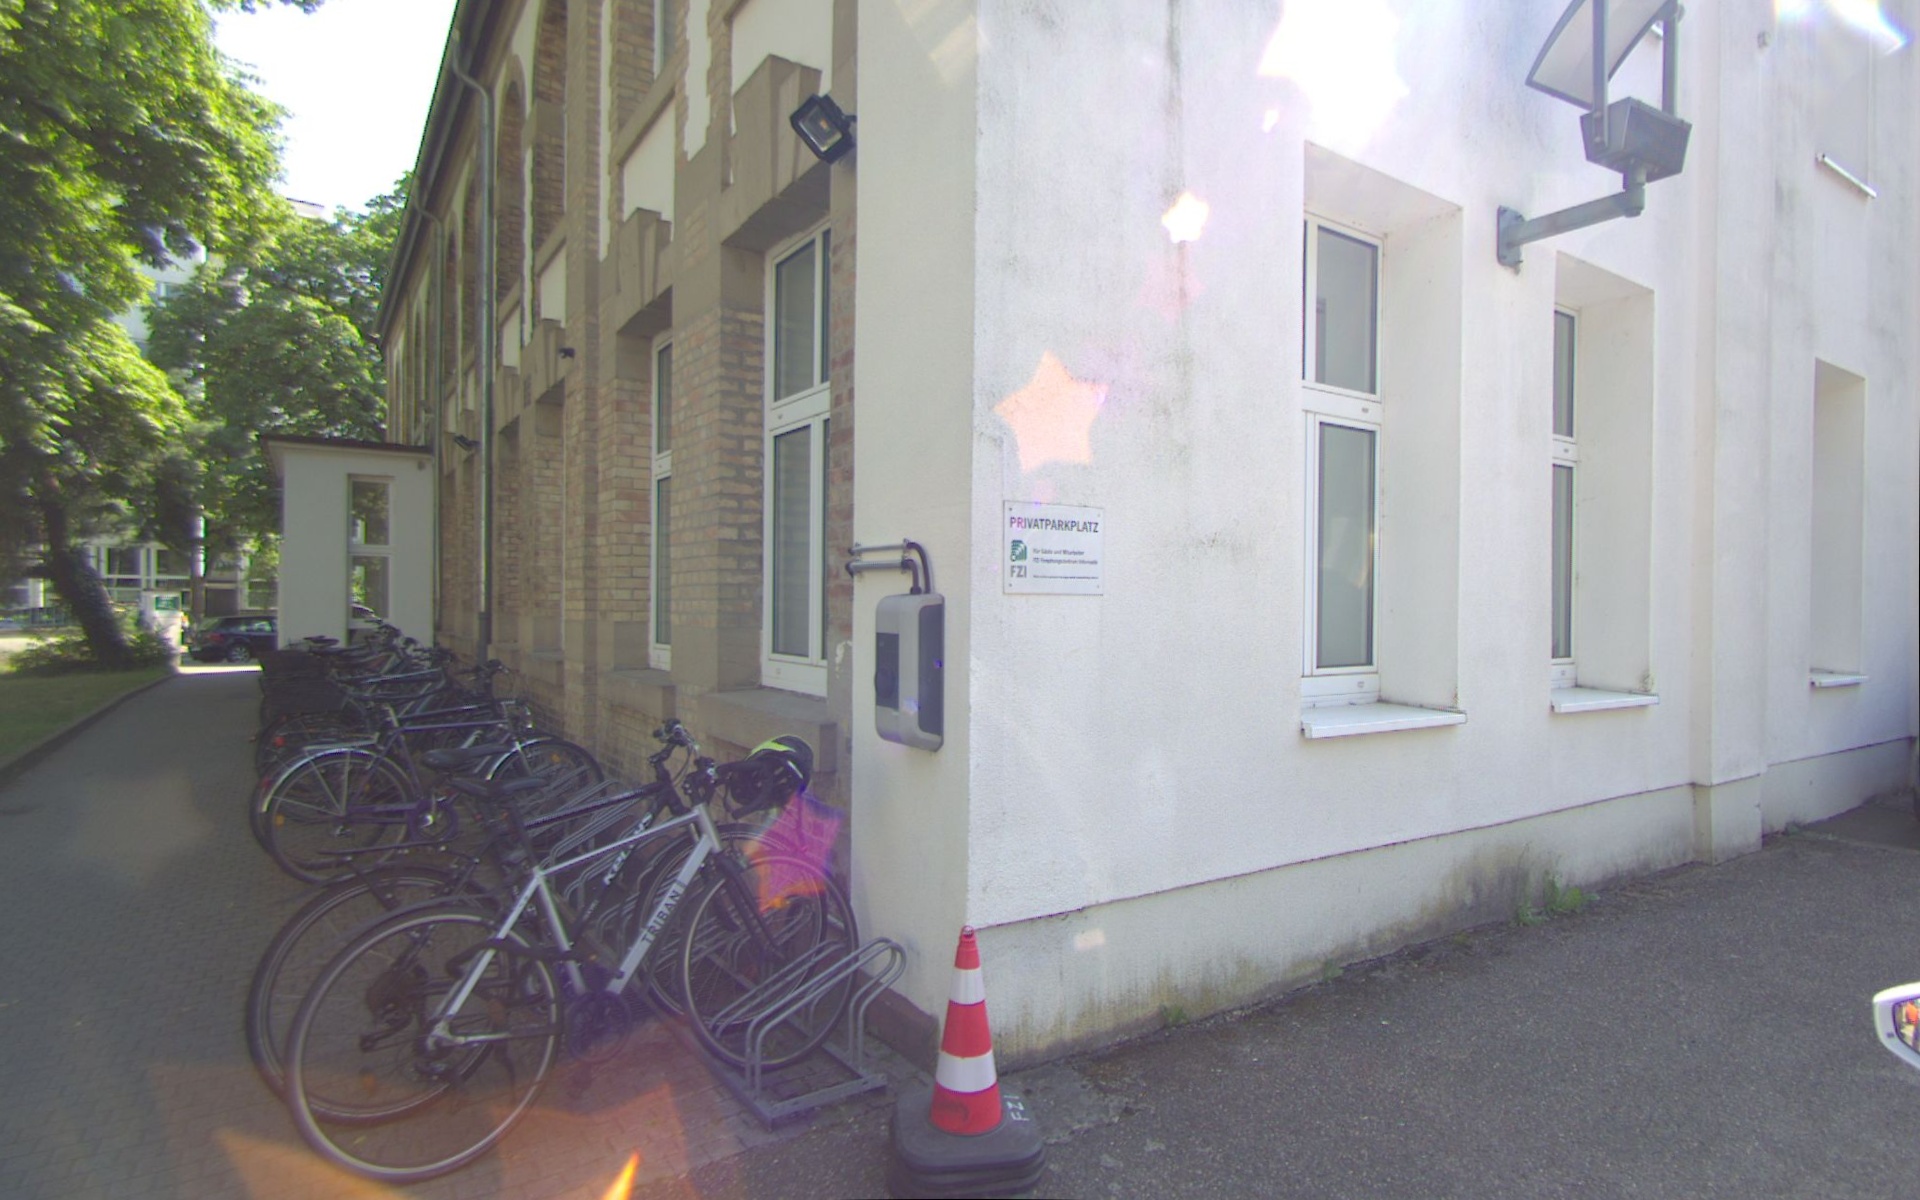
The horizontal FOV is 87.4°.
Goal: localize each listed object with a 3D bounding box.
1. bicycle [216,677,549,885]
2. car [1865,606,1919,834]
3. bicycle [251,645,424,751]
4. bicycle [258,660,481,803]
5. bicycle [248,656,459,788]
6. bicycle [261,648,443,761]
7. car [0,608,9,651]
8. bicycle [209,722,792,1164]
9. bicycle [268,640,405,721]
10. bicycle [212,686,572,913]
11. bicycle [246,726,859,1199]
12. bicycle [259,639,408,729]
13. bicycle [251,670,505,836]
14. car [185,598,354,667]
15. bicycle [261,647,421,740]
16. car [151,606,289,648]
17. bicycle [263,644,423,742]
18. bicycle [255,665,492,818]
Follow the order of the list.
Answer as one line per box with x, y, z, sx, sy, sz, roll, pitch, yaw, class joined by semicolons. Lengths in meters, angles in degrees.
-3.357;1.009;5.956;1.647;1.005;0.442;0;-1;-32;bicycle
8.384;0.893;7.196;4.386;1.461;1.825;3;1;-35;car
-6.538;1.005;10.614;1.523;1.005;0.442;0;-1;-32;bicycle
-4.753;1.027;8.159;1.523;1.005;0.442;0;-1;-32;bicycle
-5.229;1.023;8.734;1.523;1.005;0.442;0;-1;-32;bicycle
-6.088;1.016;10.110;1.524;1.005;0.442;0;-1;-33;bicycle
-36.370;1.077;35.093;4.152;1.559;1.776;-1;-1;-18;car
-1.385;0.971;3.240;1.612;1.005;0.442;0;-1;-32;bicycle
-8.347;1.054;13.477;1.526;1.006;0.441;1;0;-36;bicycle
-3.067;1.032;5.551;1.666;1.005;0.442;0;-1;-32;bicycle
-1.077;0.937;2.867;1.523;1.005;0.442;0;-1;-32;bicycle
-7.674;1.007;12.354;1.523;1.005;0.442;0;-1;-32;bicycle
-4.125;1.048;7.202;1.523;1.005;0.442;0;-1;-32;bicycle
-20.921;0.932;30.518;3.974;1.940;1.974;0;-1;-45;car
-7.279;1.076;11.871;1.582;1.002;0.371;0;0;-32;bicycle
-28.548;1.008;38.882;1.614;1.502;3.995;0;0;27;car
-7.014;1.035;11.472;1.523;1.005;0.442;0;-1;-32;bicycle
-4.451;1.041;7.701;1.523;1.005;0.442;0;-1;-32;bicycle
